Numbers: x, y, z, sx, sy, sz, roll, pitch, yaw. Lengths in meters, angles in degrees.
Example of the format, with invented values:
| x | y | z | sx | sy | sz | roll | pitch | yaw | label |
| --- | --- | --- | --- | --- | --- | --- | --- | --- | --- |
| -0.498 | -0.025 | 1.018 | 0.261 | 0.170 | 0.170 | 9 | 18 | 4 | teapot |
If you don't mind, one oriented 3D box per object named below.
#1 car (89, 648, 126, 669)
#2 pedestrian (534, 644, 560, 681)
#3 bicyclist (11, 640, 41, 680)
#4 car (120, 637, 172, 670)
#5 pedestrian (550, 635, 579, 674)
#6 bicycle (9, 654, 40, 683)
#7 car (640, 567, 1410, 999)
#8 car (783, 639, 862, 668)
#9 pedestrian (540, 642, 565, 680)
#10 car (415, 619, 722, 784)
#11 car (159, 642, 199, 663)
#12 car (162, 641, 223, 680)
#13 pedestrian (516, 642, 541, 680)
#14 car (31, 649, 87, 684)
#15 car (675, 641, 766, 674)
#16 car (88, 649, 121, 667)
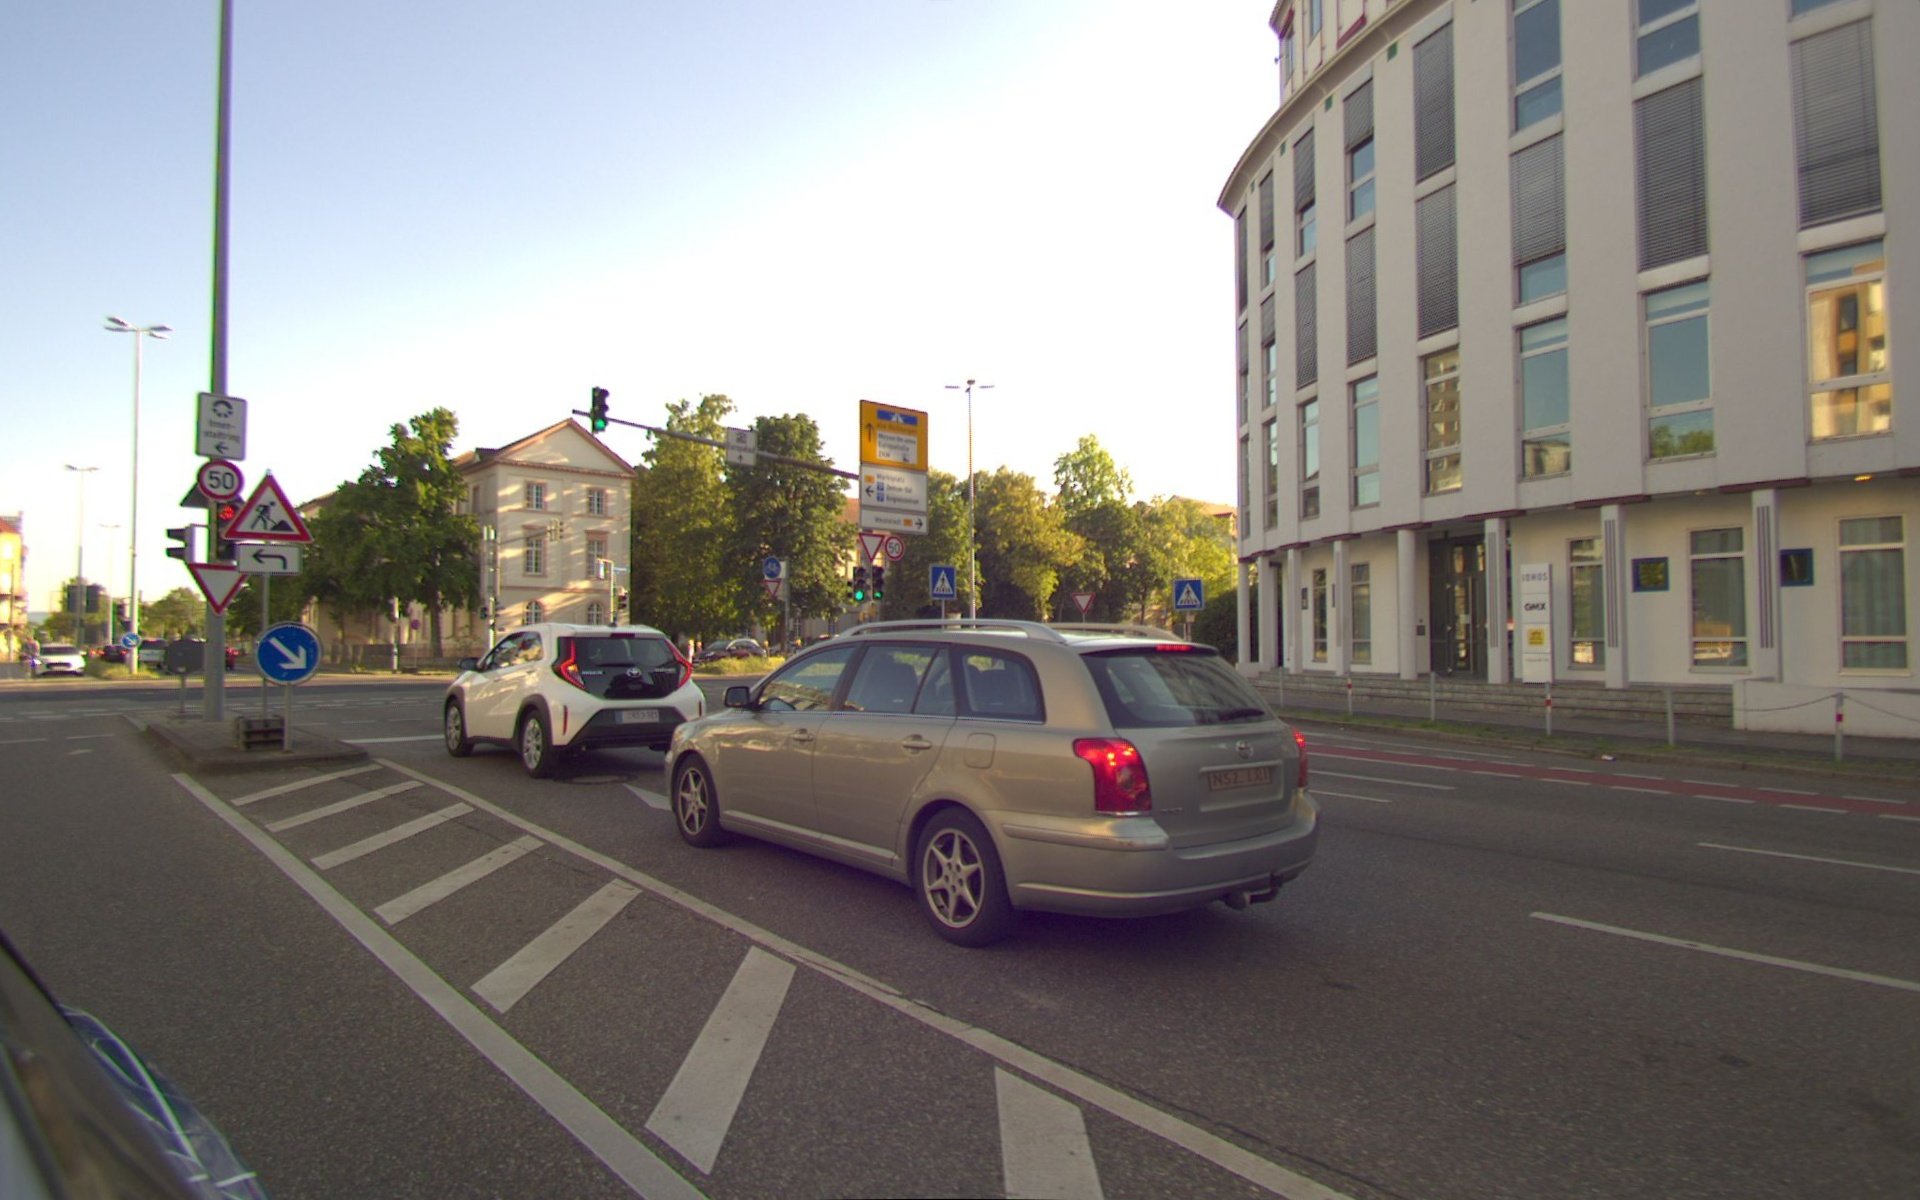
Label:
| x | y | z | sx | sy | sz | roll | pitch | yaw | label |
| --- | --- | --- | --- | --- | --- | --- | --- | --- | --- |
| -63.914 | 4.355 | 75.811 | 1.740 | 1.474 | 4.294 | 2 | -4 | -45 | car |
| -19.475 | 2.928 | 47.685 | 1.083 | 1.721 | 0.670 | -3 | -3 | 38 | pedestrian |
| -38.108 | 2.442 | 41.276 | 1.024 | 1.616 | 0.826 | -3 | -4 | 45 | bicyclist |
| -48.412 | 3.163 | 60.146 | 4.948 | 1.861 | 1.807 | -3 | -4 | 45 | car |
| -18.986 | 2.597 | 48.545 | 1.168 | 1.863 | 0.810 | -3 | -3 | 38 | pedestrian |
| -38.138 | 2.785 | 41.262 | 0.822 | 1.116 | 2.082 | 2 | -4 | -45 | bicycle |
| -0.069 | 0.758 | 5.950 | 1.805 | 1.526 | 4.611 | 2 | -3 | -40 | car |
| -6.968 | 2.702 | 51.474 | 2.000 | 1.457 | 3.596 | -3 | -4 | 42 | car |
| -18.135 | 2.722 | 44.992 | 0.882 | 1.663 | 0.670 | -3 | -3 | 38 | pedestrian |
| -4.412 | 1.002 | 11.104 | 1.806 | 1.472 | 3.905 | 2 | -4 | -43 | car |
| -56.887 | 3.814 | 73.685 | 1.740 | 1.474 | 4.294 | 2 | -4 | -45 | car |
| -36.146 | 2.820 | 47.613 | 1.806 | 1.719 | 4.445 | 2 | -4 | -43 | car |
| -18.747 | 2.643 | 43.984 | 0.889 | 1.663 | 0.613 | -3 | -3 | 38 | pedestrian |
| -40.470 | 2.954 | 45.433 | 1.739 | 1.510 | 3.711 | 2 | -4 | -43 | car |
| -10.948 | 2.615 | 46.465 | 2.000 | 1.457 | 3.596 | -3 | -4 | 42 | car |
| -72.322 | 4.926 | 85.525 | 1.740 | 1.474 | 4.294 | 2 | -4 | -45 | car |
